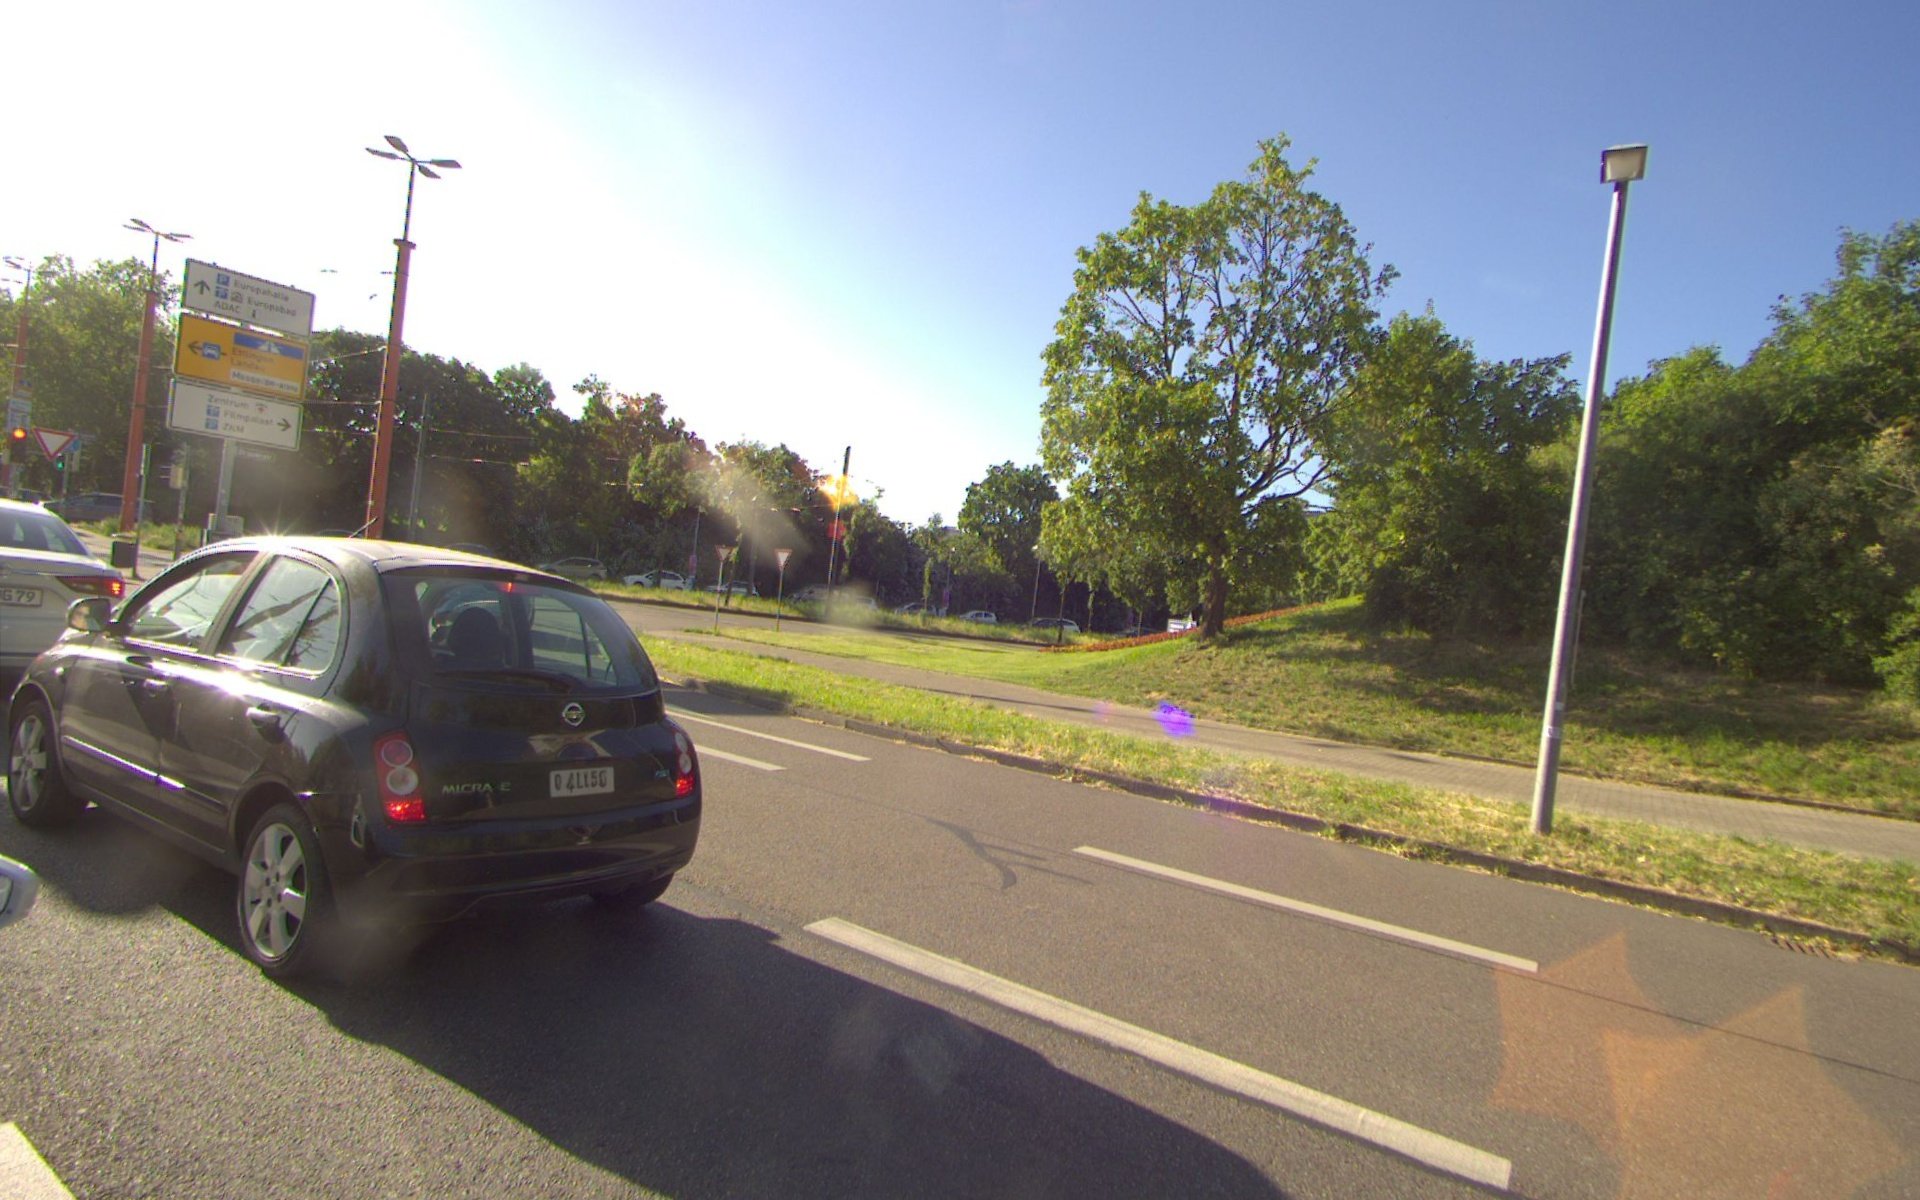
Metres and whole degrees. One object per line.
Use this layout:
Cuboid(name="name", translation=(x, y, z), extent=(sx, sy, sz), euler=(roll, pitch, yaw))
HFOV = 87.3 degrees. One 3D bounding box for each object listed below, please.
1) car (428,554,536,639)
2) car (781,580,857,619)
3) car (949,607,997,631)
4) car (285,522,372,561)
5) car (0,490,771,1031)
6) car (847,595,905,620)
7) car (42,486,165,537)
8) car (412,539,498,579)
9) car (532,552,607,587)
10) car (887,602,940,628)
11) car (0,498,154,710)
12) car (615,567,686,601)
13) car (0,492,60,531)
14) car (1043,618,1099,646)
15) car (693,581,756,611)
Cuboid(name="car", translation=(-10.113, -0.128, 21.534), extent=(1.716, 1.468, 4.110), euler=(7, 0, -22))
Cuboid(name="car", translation=(-9.546, -0.033, 68.203), extent=(4.531, 2.038, 1.987), euler=(8, 0, -27))
Cuboid(name="car", translation=(1.026, 1.446, 77.842), extent=(3.413, 1.384, 1.280), euler=(9, -2, -31))
Cuboid(name="car", translation=(-35.032, -3.231, 55.915), extent=(3.937, 1.457, 1.674), euler=(9, -2, -31))
Cuboid(name="car", translation=(-2.853, 0.464, 4.719), extent=(3.555, 1.518, 1.657), euler=(7, -2, 32))
Cuboid(name="car", translation=(-6.177, 0.588, 74.097), extent=(3.804, 1.278, 1.590), euler=(9, -3, -32))
Cuboid(name="car", translation=(-41.407, -4.244, 48.744), extent=(4.152, 1.663, 1.746), euler=(9, -2, -32))
Cuboid(name="car", translation=(-28.412, -2.298, 56.620), extent=(4.089, 1.617, 1.814), euler=(8, -1, -31))
Cuboid(name="car", translation=(-24.665, -1.914, 63.495), extent=(4.088, 1.663, 1.839), euler=(8, -1, -30))
Cuboid(name="car", translation=(-3.298, 1.073, 71.896), extent=(3.369, 1.475, 1.453), euler=(8, -1, -31))
Cuboid(name="car", translation=(-8.352, -0.171, 8.013), extent=(4.130, 1.454, 1.723), euler=(7, -2, 33))
Cuboid(name="car", translation=(-19.176, -0.992, 62.361), extent=(3.790, 1.541, 1.682), euler=(8, -1, -30))
Cuboid(name="car", translation=(-46.883, -4.477, 49.043), extent=(4.095, 1.528, 1.808), euler=(9, -2, -32))
Cuboid(name="car", translation=(9.107, 2.646, 82.610), extent=(4.195, 1.701, 1.690), euler=(8, -1, -29))
Cuboid(name="car", translation=(-15.857, -0.268, 67.845), extent=(3.710, 1.491, 1.587), euler=(8, -1, -32))
